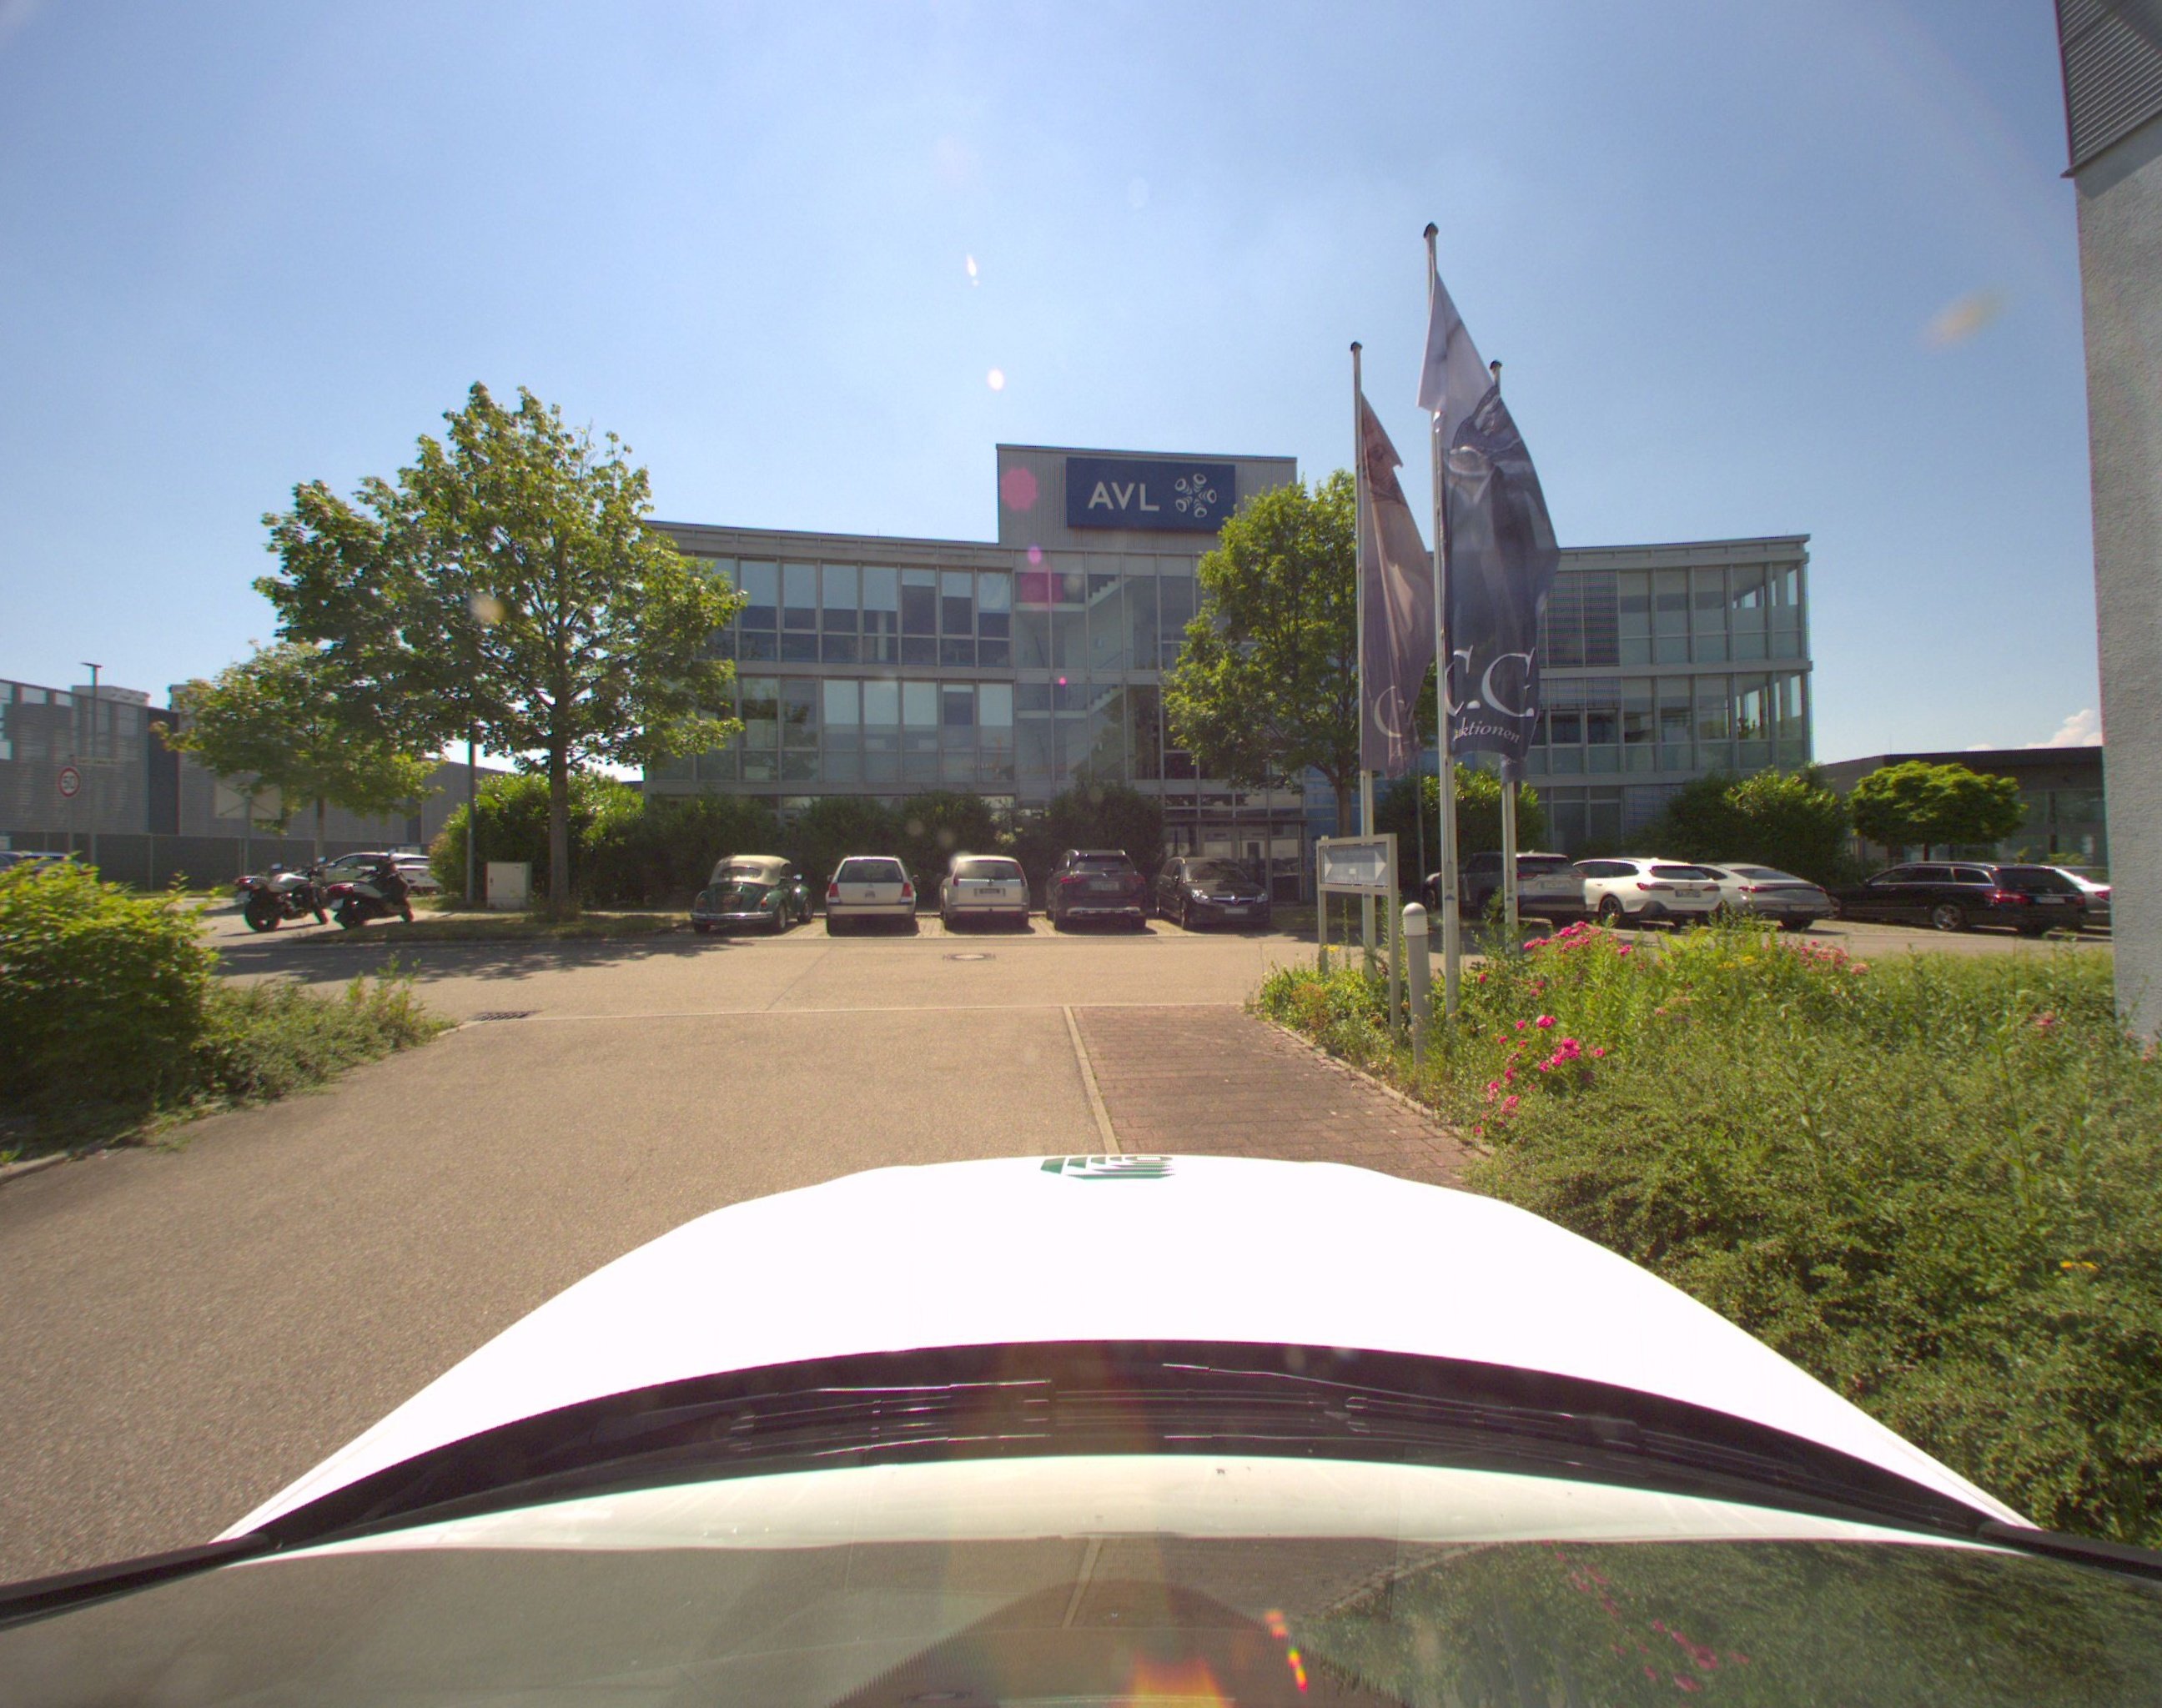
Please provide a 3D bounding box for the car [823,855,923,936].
[{"bbox_3d":[-4.182,0.759,16.856,1.732,1.449,3.641,0,0,-11],"label":"car"}]

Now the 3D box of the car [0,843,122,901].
[{"bbox_3d":[-29.565,0.449,22.412,4.474,1.491,2.005,0,0,8],"label":"car"}]

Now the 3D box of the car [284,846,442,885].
[{"bbox_3d":[-28.290,0.420,32.160,4.810,1.491,2.005,0,0,8],"label":"car"}]

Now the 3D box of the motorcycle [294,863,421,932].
[{"bbox_3d":[-13.264,0.758,15.012,0.712,1.138,1.953,-1,1,-6],"label":"motorcycle"}]

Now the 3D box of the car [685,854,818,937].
[{"bbox_3d":[-6.462,0.737,16.343,1.540,1.449,3.645,0,0,-7],"label":"car"}]

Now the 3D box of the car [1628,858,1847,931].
[{"bbox_3d":[14.791,0.830,18.726,1.728,1.429,4.343,1,0,3],"label":"car"}]

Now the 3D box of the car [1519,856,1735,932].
[{"bbox_3d":[12.146,0.812,18.522,1.734,1.491,4.330,1,0,-6],"label":"car"}]

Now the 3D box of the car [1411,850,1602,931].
[{"bbox_3d":[9.578,0.730,18.782,1.817,1.619,4.330,-1,1,-6],"label":"car"}]

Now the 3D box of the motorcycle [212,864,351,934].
[{"bbox_3d":[-14.528,0.774,14.884,0.712,1.138,1.953,-1,1,-6],"label":"motorcycle"}]

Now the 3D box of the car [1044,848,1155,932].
[{"bbox_3d":[0.268,0.684,17.781,1.925,1.610,3.978,0,0,-6],"label":"car"}]

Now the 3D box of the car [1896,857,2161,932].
[{"bbox_3d":[21.722,0.835,18.672,1.728,1.447,4.552,1,0,3],"label":"car"}]

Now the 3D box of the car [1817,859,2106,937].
[{"bbox_3d":[19.314,0.866,18.235,1.728,1.447,4.552,1,0,3],"label":"car"}]

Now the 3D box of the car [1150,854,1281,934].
[{"bbox_3d":[2.802,0.770,17.922,1.768,1.482,4.249,-1,1,-6],"label":"car"}]

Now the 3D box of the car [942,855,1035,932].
[{"bbox_3d":[-2.107,0.764,17.702,1.765,1.449,3.641,0,0,-11],"label":"car"}]
